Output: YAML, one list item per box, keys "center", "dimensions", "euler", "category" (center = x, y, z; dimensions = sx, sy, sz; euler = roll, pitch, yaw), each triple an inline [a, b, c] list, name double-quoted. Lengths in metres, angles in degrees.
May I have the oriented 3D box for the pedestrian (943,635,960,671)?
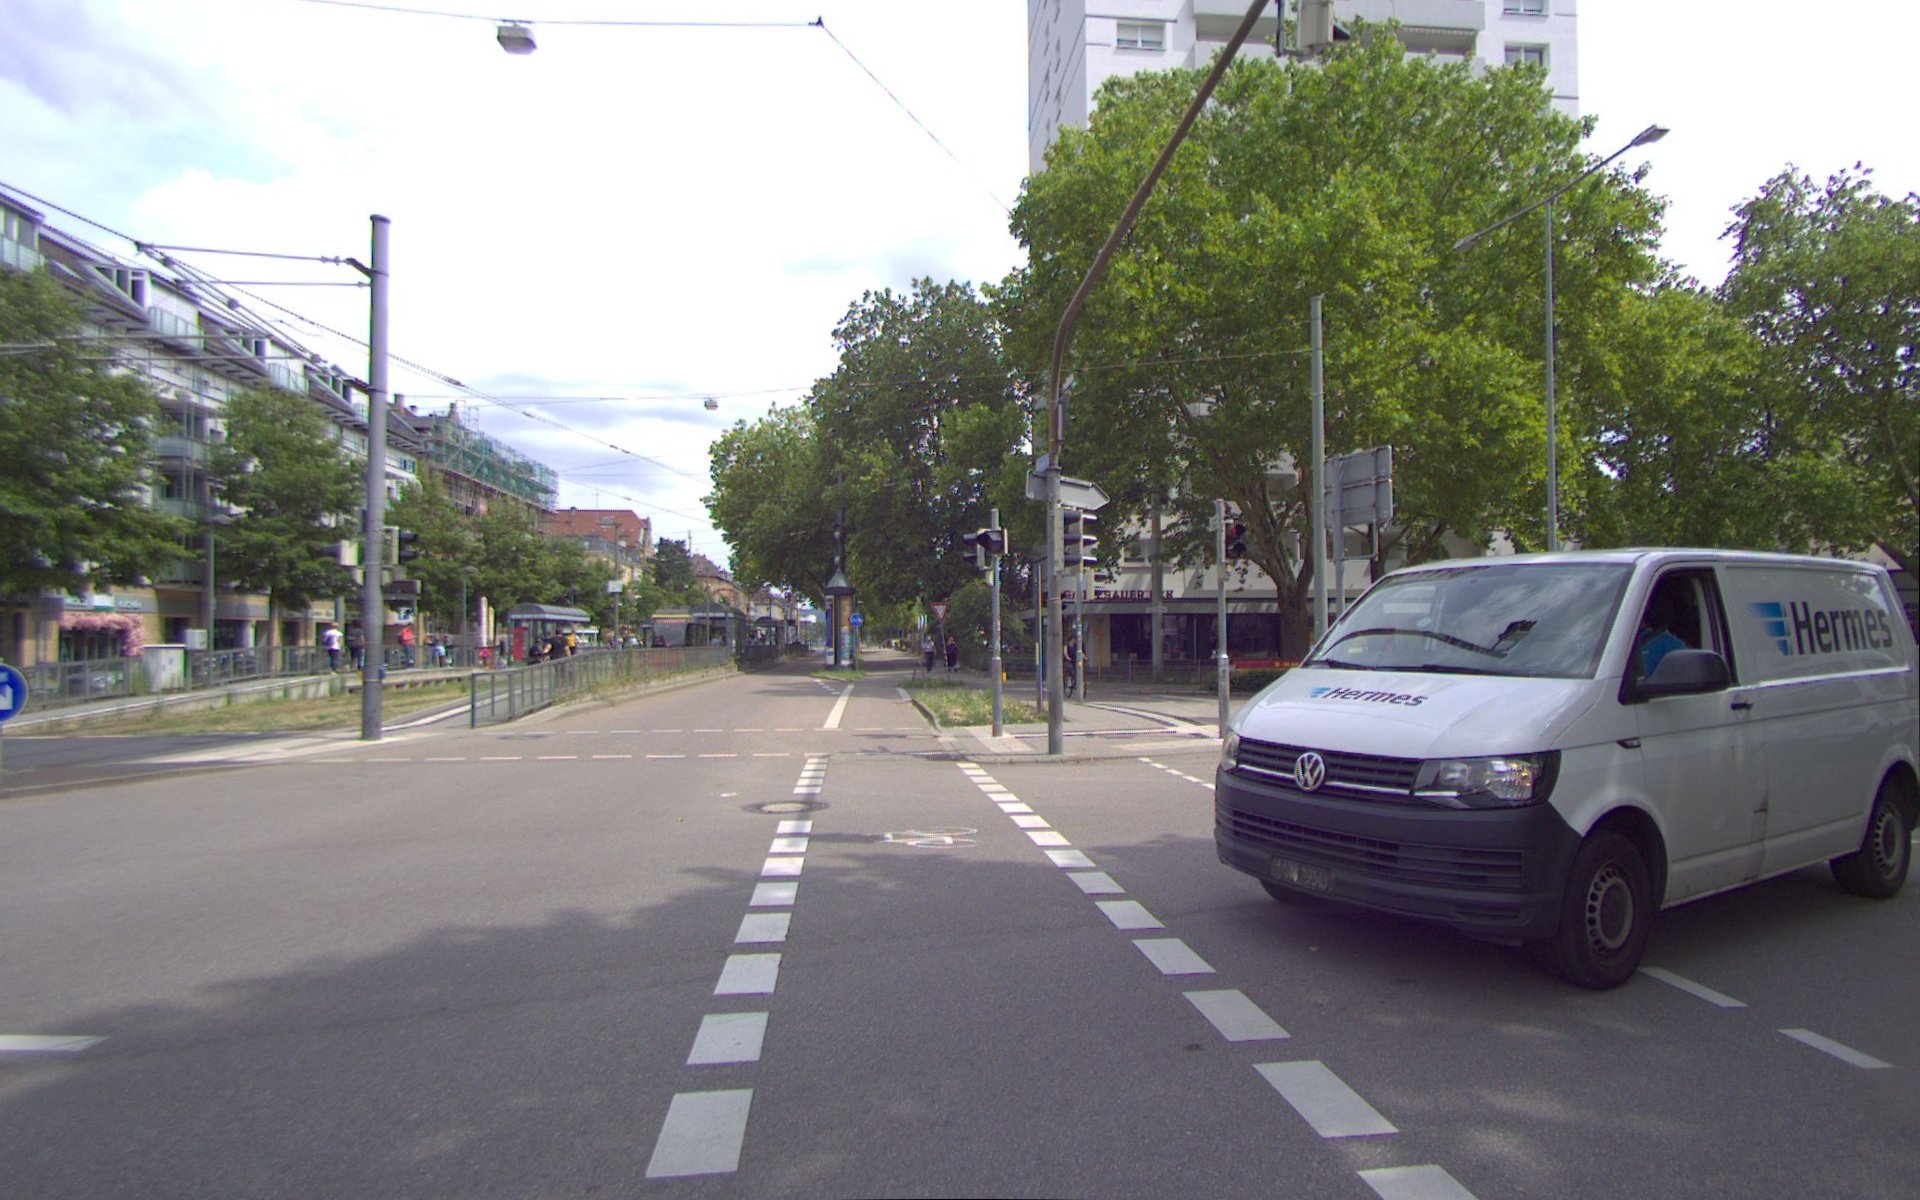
- center: [-0.404, 2.496, 47.583]
  dimensions: [0.684, 1.657, 0.684]
  euler: [0, -2, -9]
  category: "pedestrian"

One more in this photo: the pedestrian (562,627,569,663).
- center: [-20.920, 2.378, 53.264]
  dimensions: [0.320, 1.908, 0.311]
  euler: [0, -2, -16]
  category: "pedestrian"

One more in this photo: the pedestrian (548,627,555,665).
- center: [-21.521, 2.415, 52.913]
  dimensions: [0.320, 1.980, 0.311]
  euler: [0, -2, -16]
  category: "pedestrian"

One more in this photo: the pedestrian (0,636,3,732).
- center: [-16.091, 1.367, 16.024]
  dimensions: [0.851, 1.572, 0.838]
  euler: [-1, -2, -7]
  category: "pedestrian"

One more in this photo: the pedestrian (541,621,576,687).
- center: [-9.692, 1.294, 24.275]
  dimensions: [0.657, 1.572, 0.598]
  euler: [-1, -2, -7]
  category: "pedestrian"

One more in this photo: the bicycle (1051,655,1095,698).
- center: [3.121, 2.118, 27.836]
  dimensions: [0.616, 1.108, 1.968]
  euler: [-1, -4, -11]
  category: "bicycle"

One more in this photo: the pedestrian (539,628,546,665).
- center: [-21.958, 2.444, 52.810]
  dimensions: [0.320, 1.980, 0.311]
  euler: [0, -2, -16]
  category: "pedestrian"

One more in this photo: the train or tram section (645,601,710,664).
- center: [-16.417, 1.998, 58.796]
  dimensions: [2.322, 3.357, 7.514]
  euler: [-1, -4, -5]
  category: "train or tram section"

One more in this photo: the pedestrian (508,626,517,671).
- center: [-20.682, 2.235, 46.454]
  dimensions: [0.282, 2.040, 0.354]
  euler: [0, -2, -7]
  category: "pedestrian"

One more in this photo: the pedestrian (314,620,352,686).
- center: [-19.901, 1.683, 31.899]
  dimensions: [0.746, 2.040, 0.757]
  euler: [0, -2, -6]
  category: "pedestrian"

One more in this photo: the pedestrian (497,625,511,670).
- center: [-21.018, 2.193, 46.282]
  dimensions: [0.492, 2.040, 0.369]
  euler: [0, -2, -7]
  category: "pedestrian"

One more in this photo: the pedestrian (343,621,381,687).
- center: [-18.656, 1.674, 31.363]
  dimensions: [0.746, 2.040, 0.757]
  euler: [0, -2, -6]
  category: "pedestrian"

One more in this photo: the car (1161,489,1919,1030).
- center: [3.637, 0.628, 5.751]
  dimensions: [4.890, 1.962, 1.914]
  euler: [1, -2, -31]
  category: "car"

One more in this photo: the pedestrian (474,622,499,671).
- center: [-20.143, 1.977, 42.770]
  dimensions: [0.746, 2.040, 0.757]
  euler: [0, -2, -6]
  category: "pedestrian"

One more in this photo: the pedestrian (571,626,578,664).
- center: [-20.521, 2.397, 53.427]
  dimensions: [0.320, 1.980, 0.311]
  euler: [0, -2, -16]
  category: "pedestrian"

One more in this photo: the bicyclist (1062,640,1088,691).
- center: [3.155, 1.806, 27.578]
  dimensions: [0.483, 1.359, 0.752]
  euler: [-1, -5, -10]
  category: "bicyclist"

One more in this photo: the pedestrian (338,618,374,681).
- center: [-19.917, 1.621, 33.141]
  dimensions: [0.746, 2.040, 0.757]
  euler: [0, -2, -6]
  category: "pedestrian"

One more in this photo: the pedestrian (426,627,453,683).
- center: [-21.319, 2.258, 41.169]
  dimensions: [0.746, 2.280, 0.757]
  euler: [0, -2, -6]
  category: "pedestrian"

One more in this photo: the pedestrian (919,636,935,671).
- center: [-1.560, 2.553, 48.003]
  dimensions: [0.684, 1.645, 0.505]
  euler: [0, -2, -9]
  category: "pedestrian"

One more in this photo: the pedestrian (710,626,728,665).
- center: [-12.857, 2.430, 53.531]
  dimensions: [0.837, 2.040, 0.872]
  euler: [-1, -2, -7]
  category: "pedestrian"
